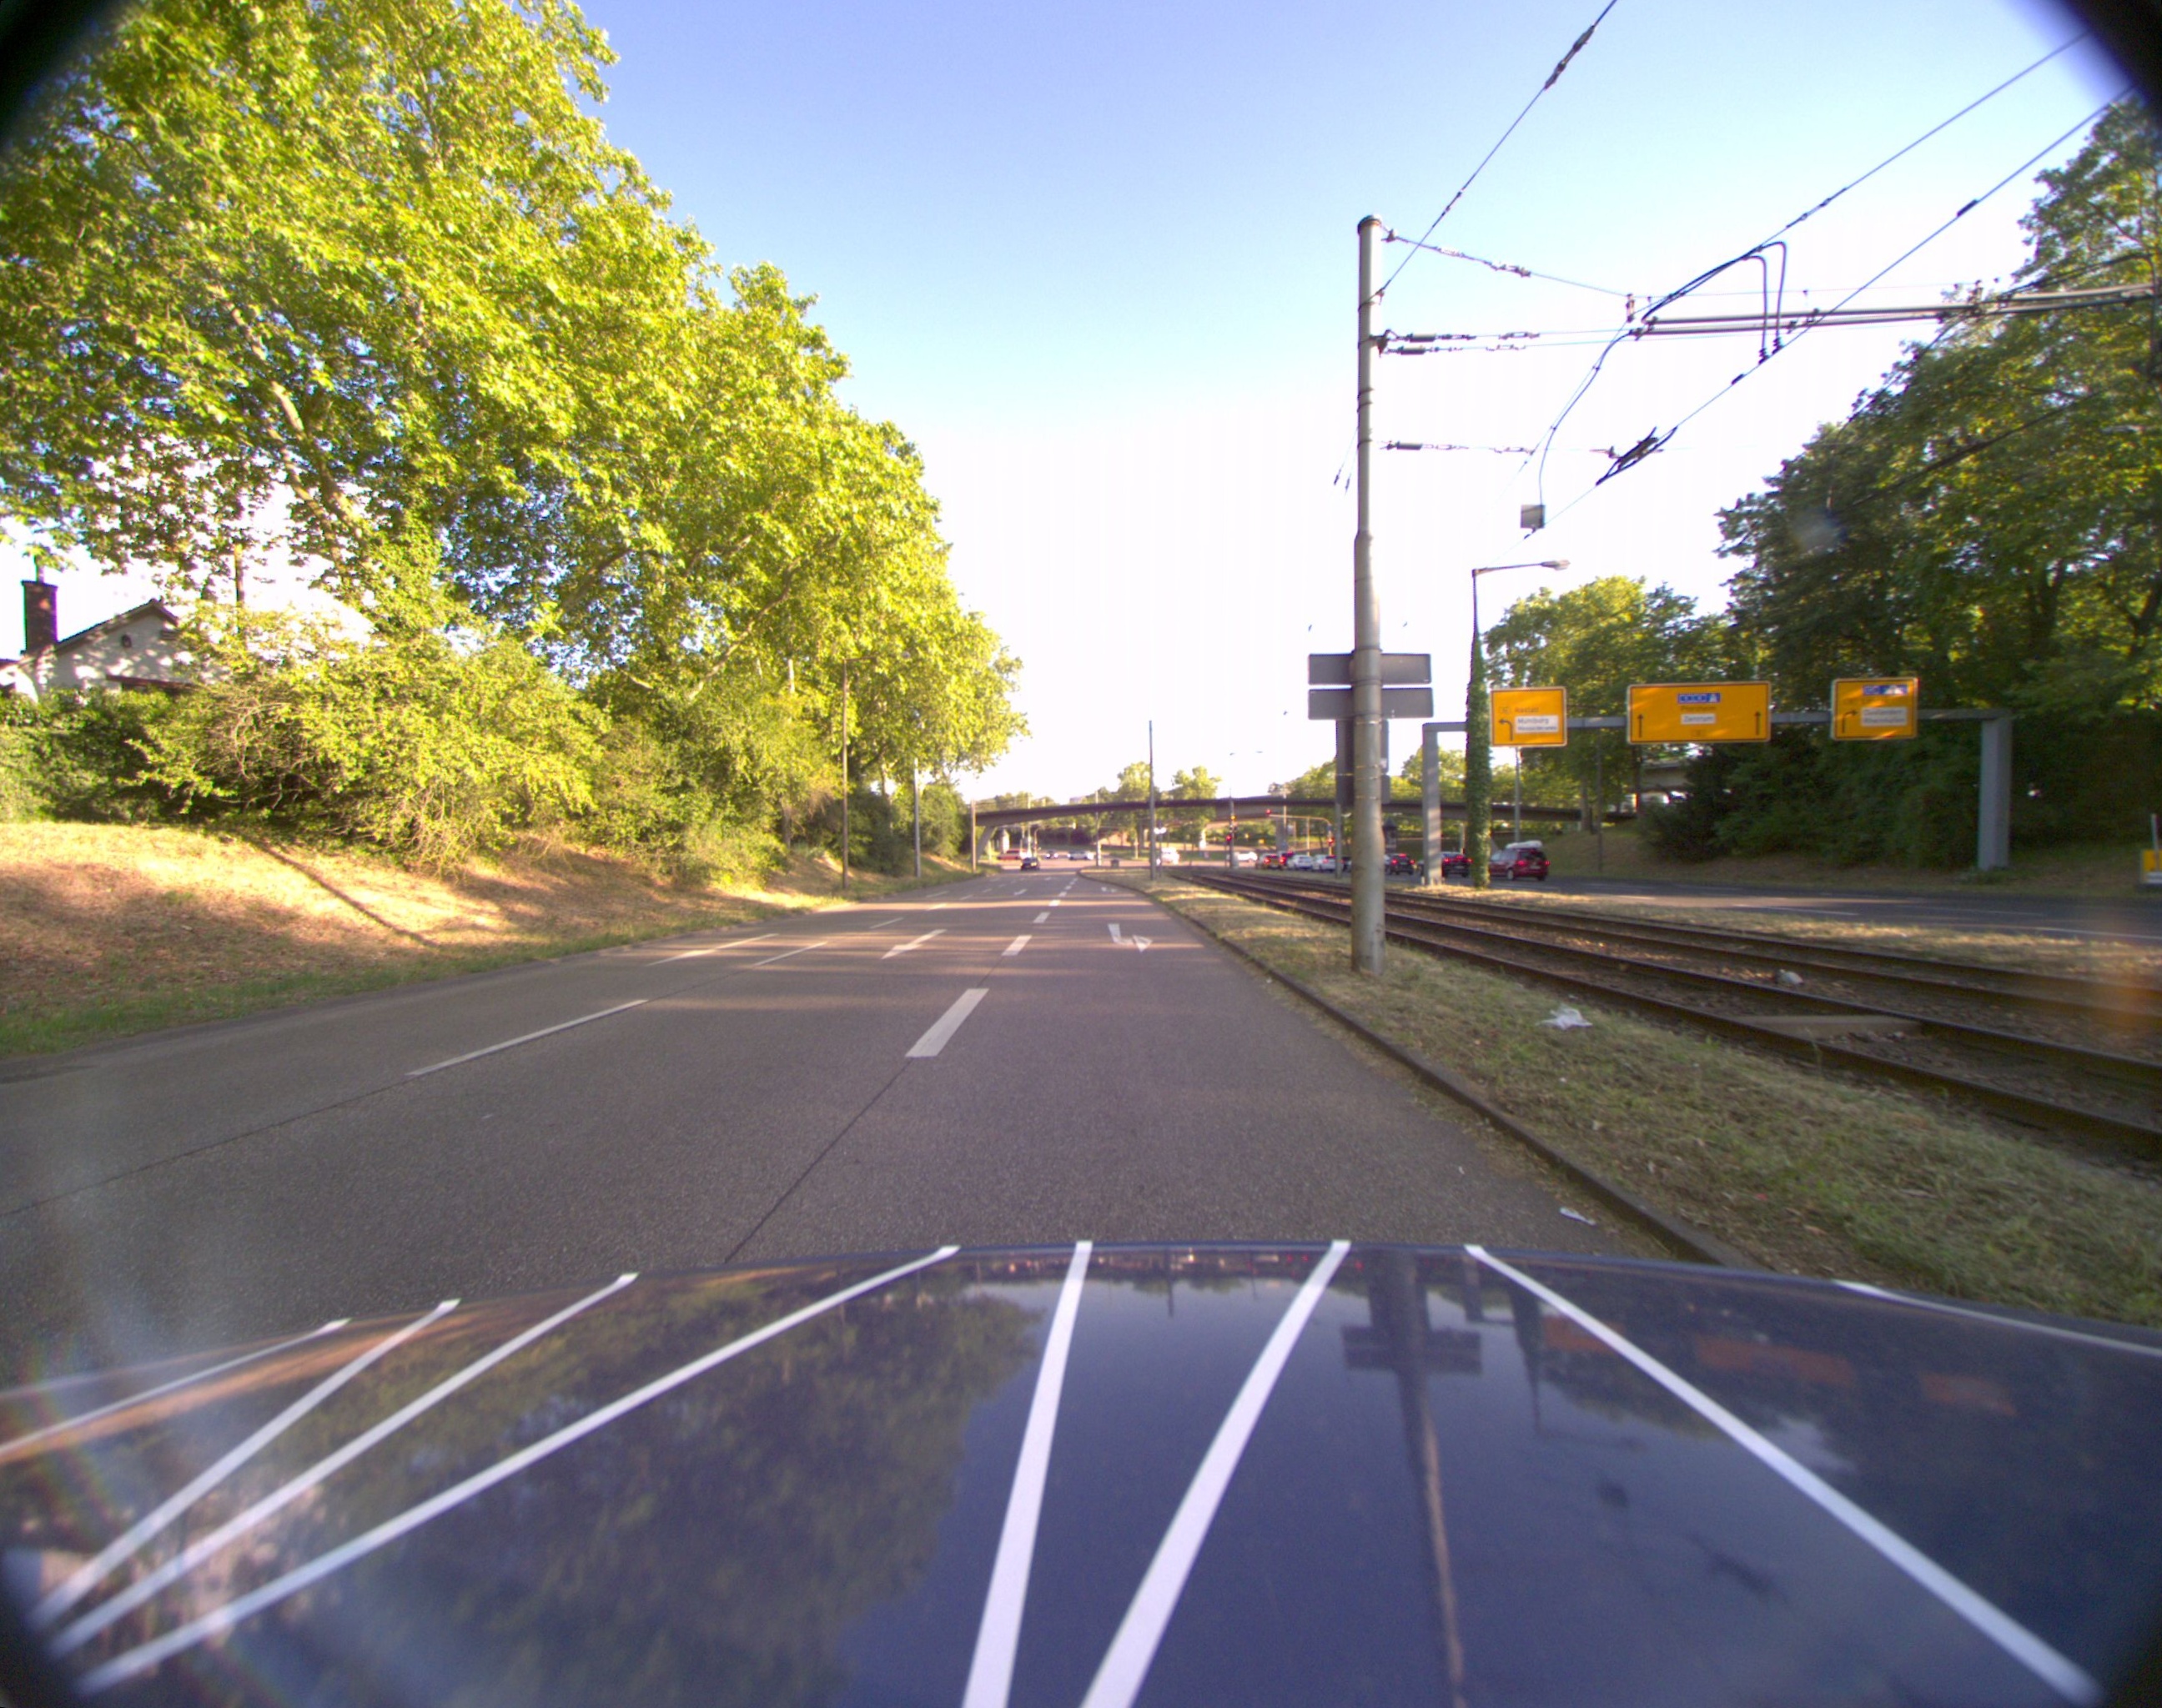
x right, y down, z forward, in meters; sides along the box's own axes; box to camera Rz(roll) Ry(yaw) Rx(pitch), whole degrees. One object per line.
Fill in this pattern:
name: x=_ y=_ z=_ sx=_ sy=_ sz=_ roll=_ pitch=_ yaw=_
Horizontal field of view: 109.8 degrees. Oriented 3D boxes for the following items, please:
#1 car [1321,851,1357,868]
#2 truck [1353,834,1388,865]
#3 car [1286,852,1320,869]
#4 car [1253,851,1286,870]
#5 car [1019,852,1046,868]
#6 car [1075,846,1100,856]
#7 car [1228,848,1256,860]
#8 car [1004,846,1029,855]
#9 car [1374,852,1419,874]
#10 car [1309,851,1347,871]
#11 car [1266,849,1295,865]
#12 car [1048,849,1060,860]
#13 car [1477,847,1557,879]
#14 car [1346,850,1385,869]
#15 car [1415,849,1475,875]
car: x=23.748 y=0.482 z=70.202 sx=1.868 sy=1.416 sz=4.226 roll=-1 pitch=0 yaw=0
truck: x=28.392 y=-0.442 z=74.792 sx=2.281 sy=2.862 sz=6.887 roll=-1 pitch=0 yaw=13
car: x=20.008 y=0.538 z=68.522 sx=1.918 sy=1.416 sz=4.227 roll=-1 pitch=0 yaw=2
car: x=16.157 y=0.504 z=65.229 sx=1.767 sy=1.535 sz=4.000 roll=-1 pitch=0 yaw=0
car: x=-5.083 y=0.613 z=79.899 sx=1.761 sy=1.490 sz=3.795 roll=-2 pitch=1 yaw=13
car: x=1.029 y=-0.467 z=126.274 sx=3.785 sy=1.491 sz=1.766 roll=-2 pitch=1 yaw=18
car: x=23.609 y=-0.069 z=111.642 sx=3.809 sy=1.570 sz=1.677 roll=-2 pitch=1 yaw=3
car: x=-11.112 y=-0.584 z=131.481 sx=3.868 sy=1.403 sz=1.814 roll=-2 pitch=1 yaw=20
car: x=23.176 y=0.628 z=55.910 sx=1.755 sy=1.548 sz=3.973 roll=0 pitch=0 yaw=1
car: x=20.036 y=0.539 z=61.798 sx=1.767 sy=1.535 sz=4.000 roll=-1 pitch=0 yaw=0
car: x=19.591 y=0.261 z=74.735 sx=1.917 sy=1.540 sz=4.227 roll=-1 pitch=0 yaw=4
car: x=-4.884 y=0.080 z=139.199 sx=1.960 sy=1.779 sz=3.998 roll=-2 pitch=0 yaw=-5
car: x=23.222 y=0.460 z=40.671 sx=1.842 sy=1.625 sz=4.311 roll=0 pitch=0 yaw=0
car: x=23.976 y=0.439 z=64.065 sx=1.813 sy=1.535 sz=4.000 roll=-1 pitch=0 yaw=1
car: x=22.944 y=0.476 z=48.078 sx=1.735 sy=1.536 sz=4.334 roll=-1 pitch=0 yaw=1
